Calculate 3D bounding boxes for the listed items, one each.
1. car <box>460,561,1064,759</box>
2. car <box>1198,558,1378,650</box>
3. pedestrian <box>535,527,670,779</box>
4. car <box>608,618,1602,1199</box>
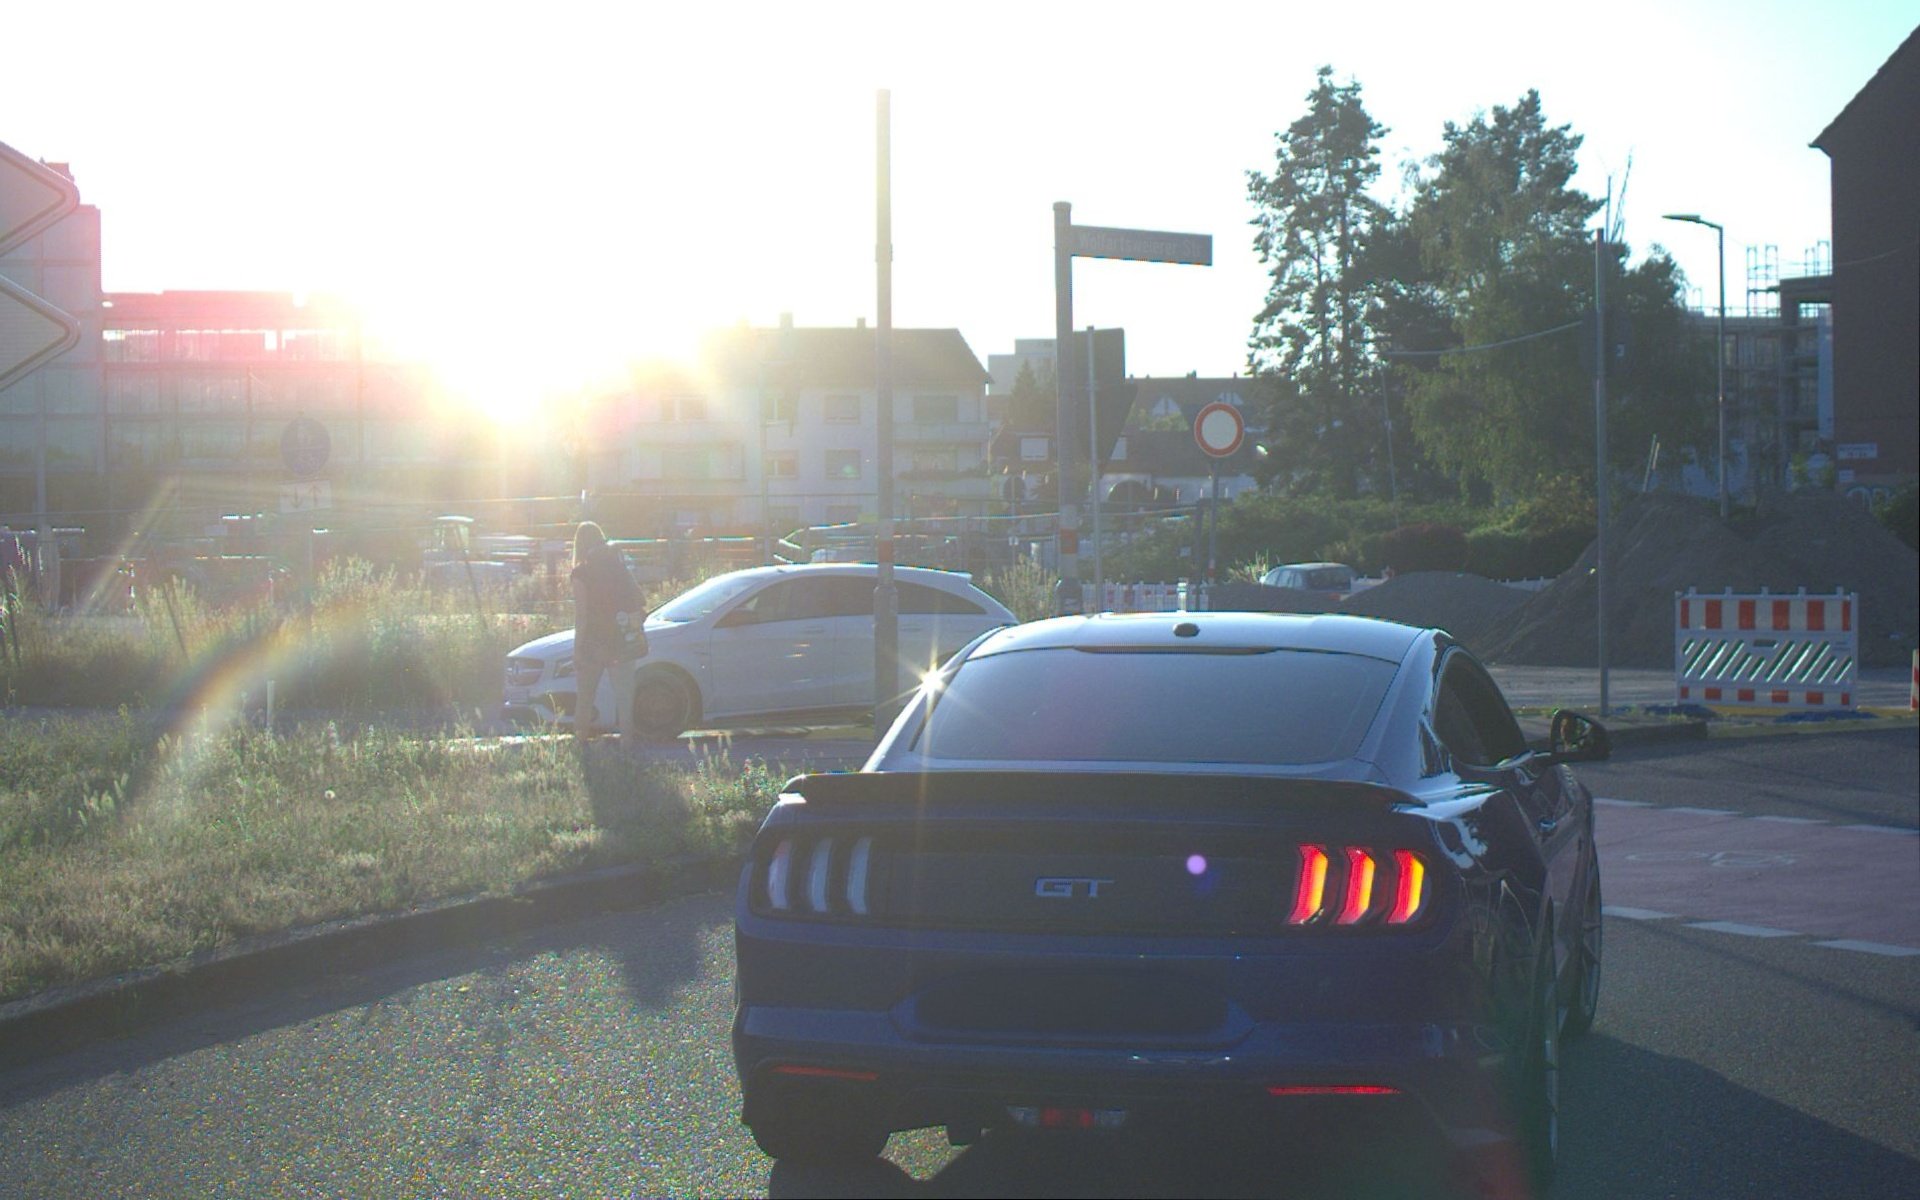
[{"bbox_3d":[-1.667,0.467,29.219,4.641,1.448,2.075,-2,1,-28],"label":"car"},{"bbox_3d":[6.213,0.050,65.515,1.993,1.700,4.001,0,1,-18],"label":"car"},{"bbox_3d":[-2.420,0.346,23.342,0.843,1.680,0.887,0,1,-2],"label":"pedestrian"},{"bbox_3d":[0.696,0.773,9.417,1.952,1.337,4.668,1,1,12],"label":"car"}]
